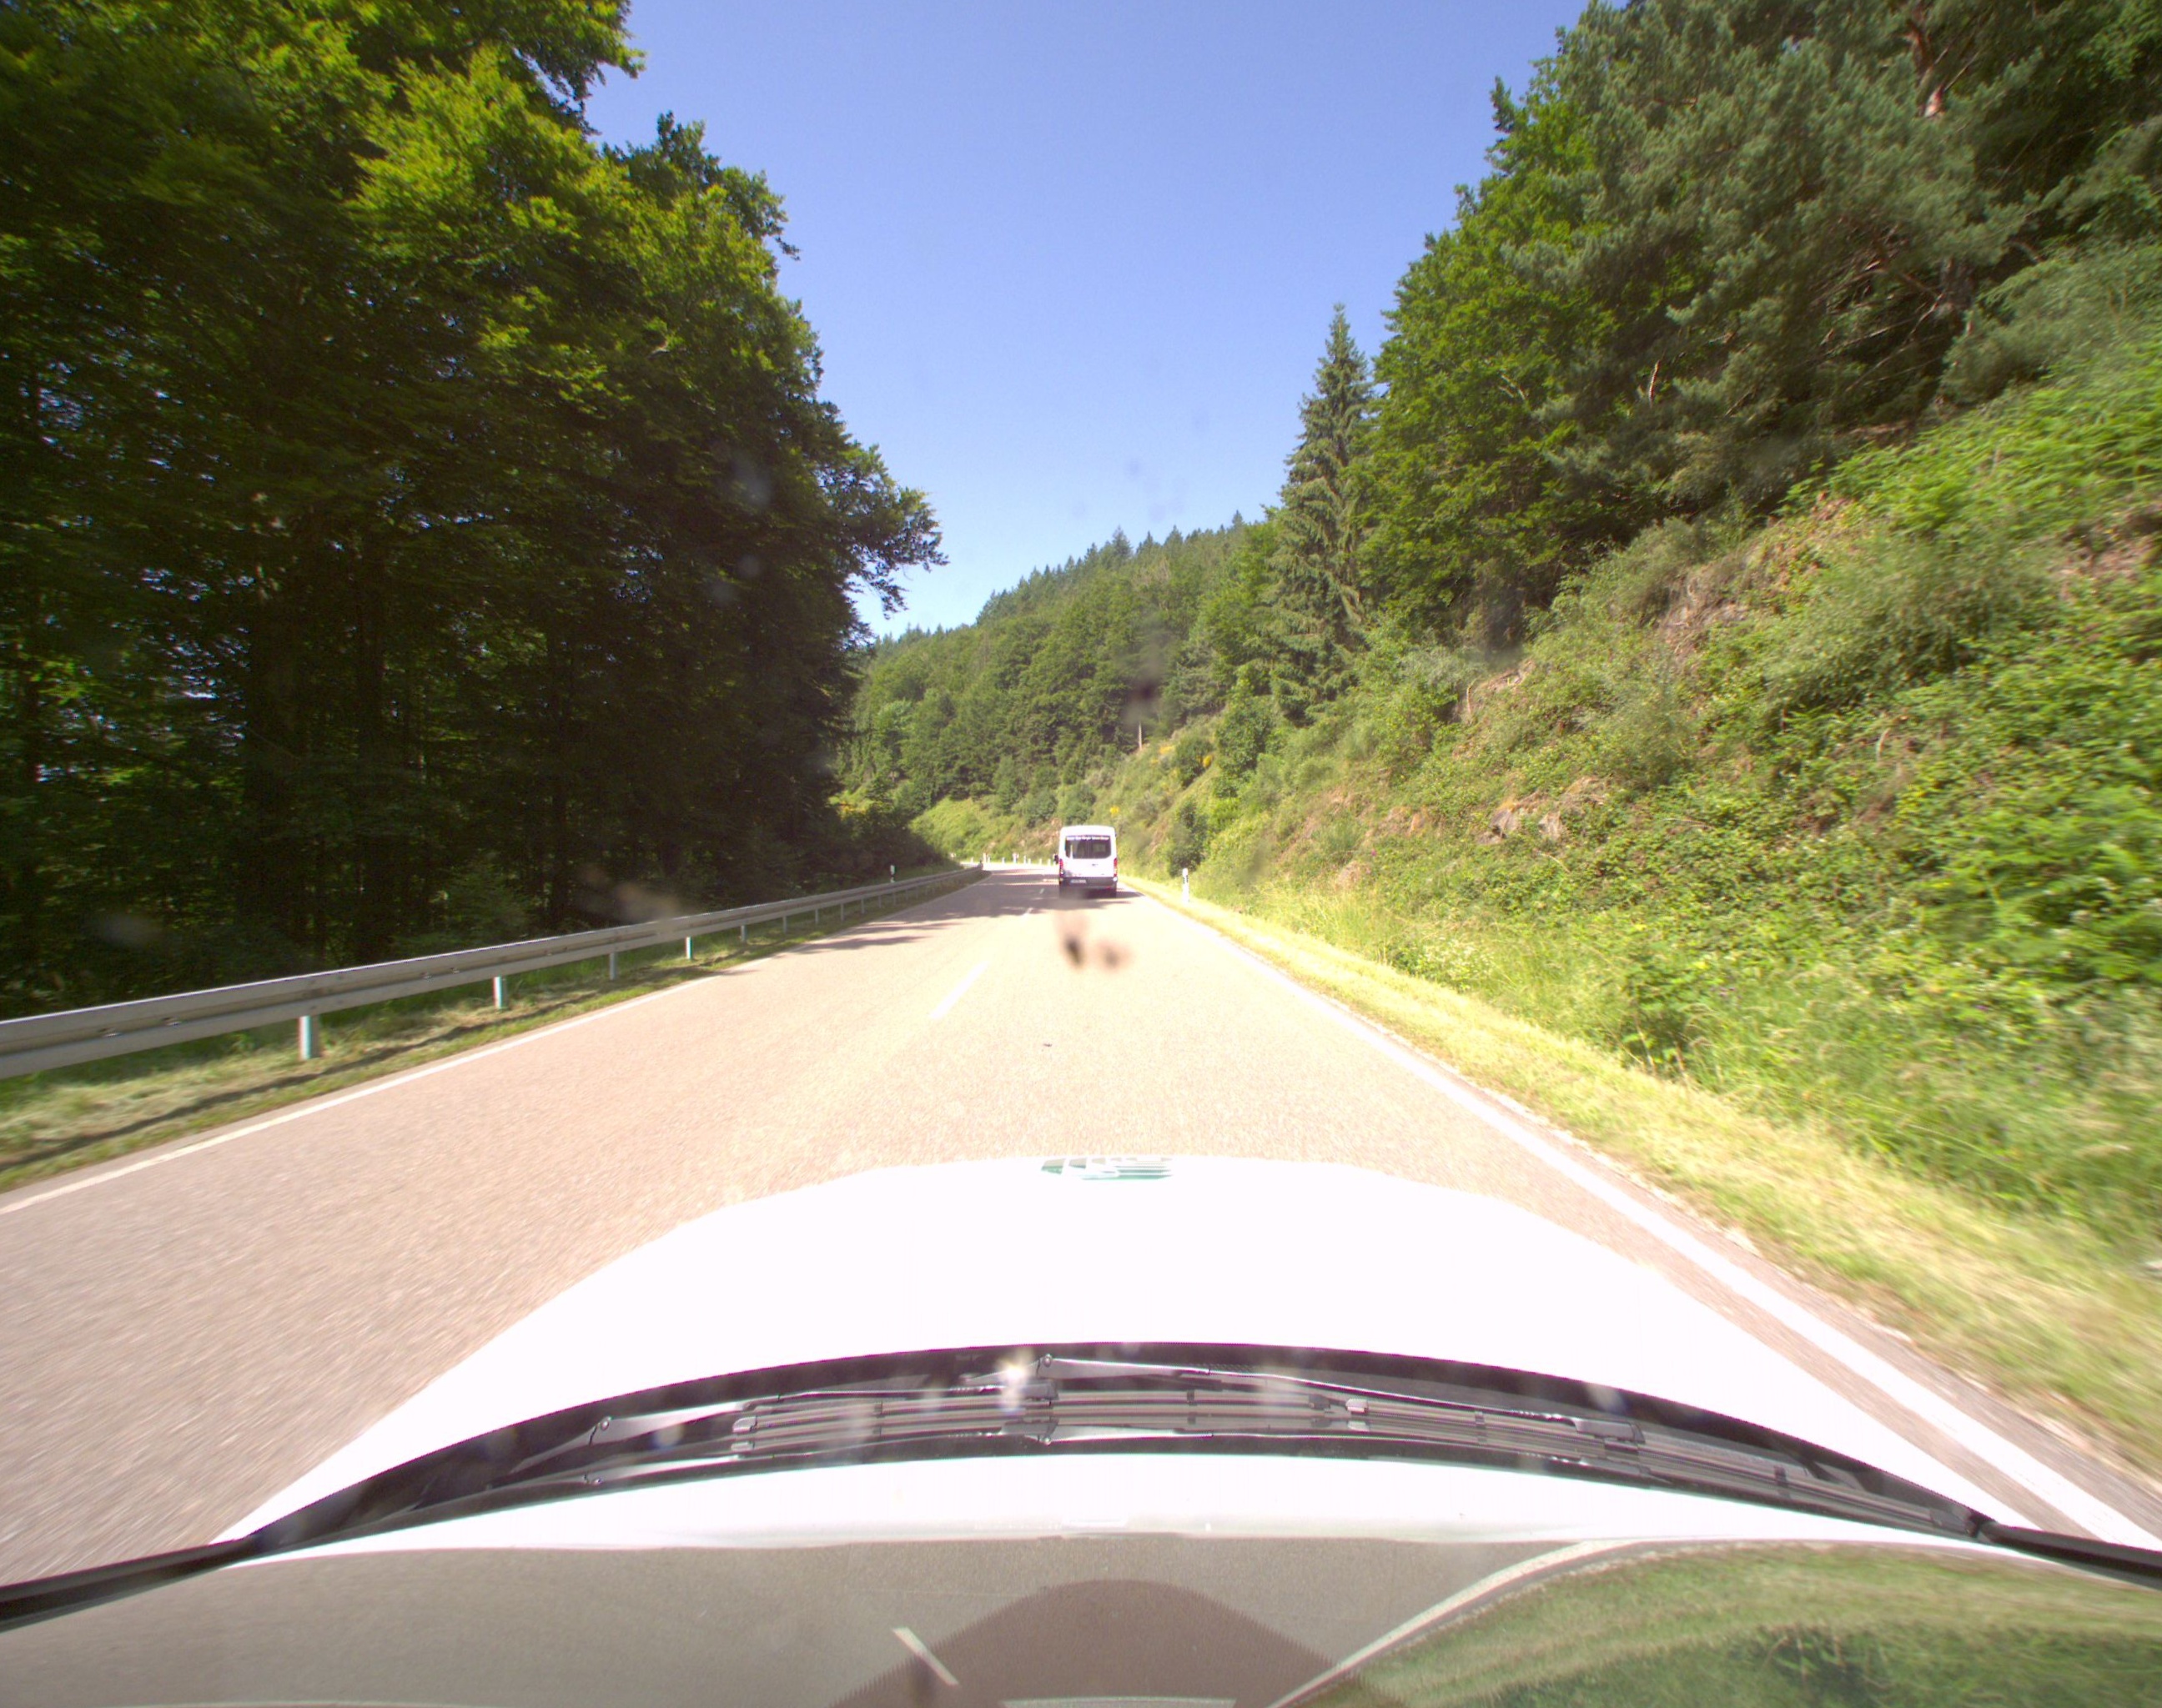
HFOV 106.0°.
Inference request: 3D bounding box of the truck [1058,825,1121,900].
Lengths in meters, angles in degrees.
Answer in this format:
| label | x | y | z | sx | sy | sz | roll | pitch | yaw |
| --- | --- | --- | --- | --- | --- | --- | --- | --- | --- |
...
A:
| label | x | y | z | sx | sy | sz | roll | pitch | yaw |
| --- | --- | --- | --- | --- | --- | --- | --- | --- | --- |
| truck | 0.230 | 0.270 | 29.555 | 2.078 | 2.459 | 4.872 | -1 | 0 | -2 |
